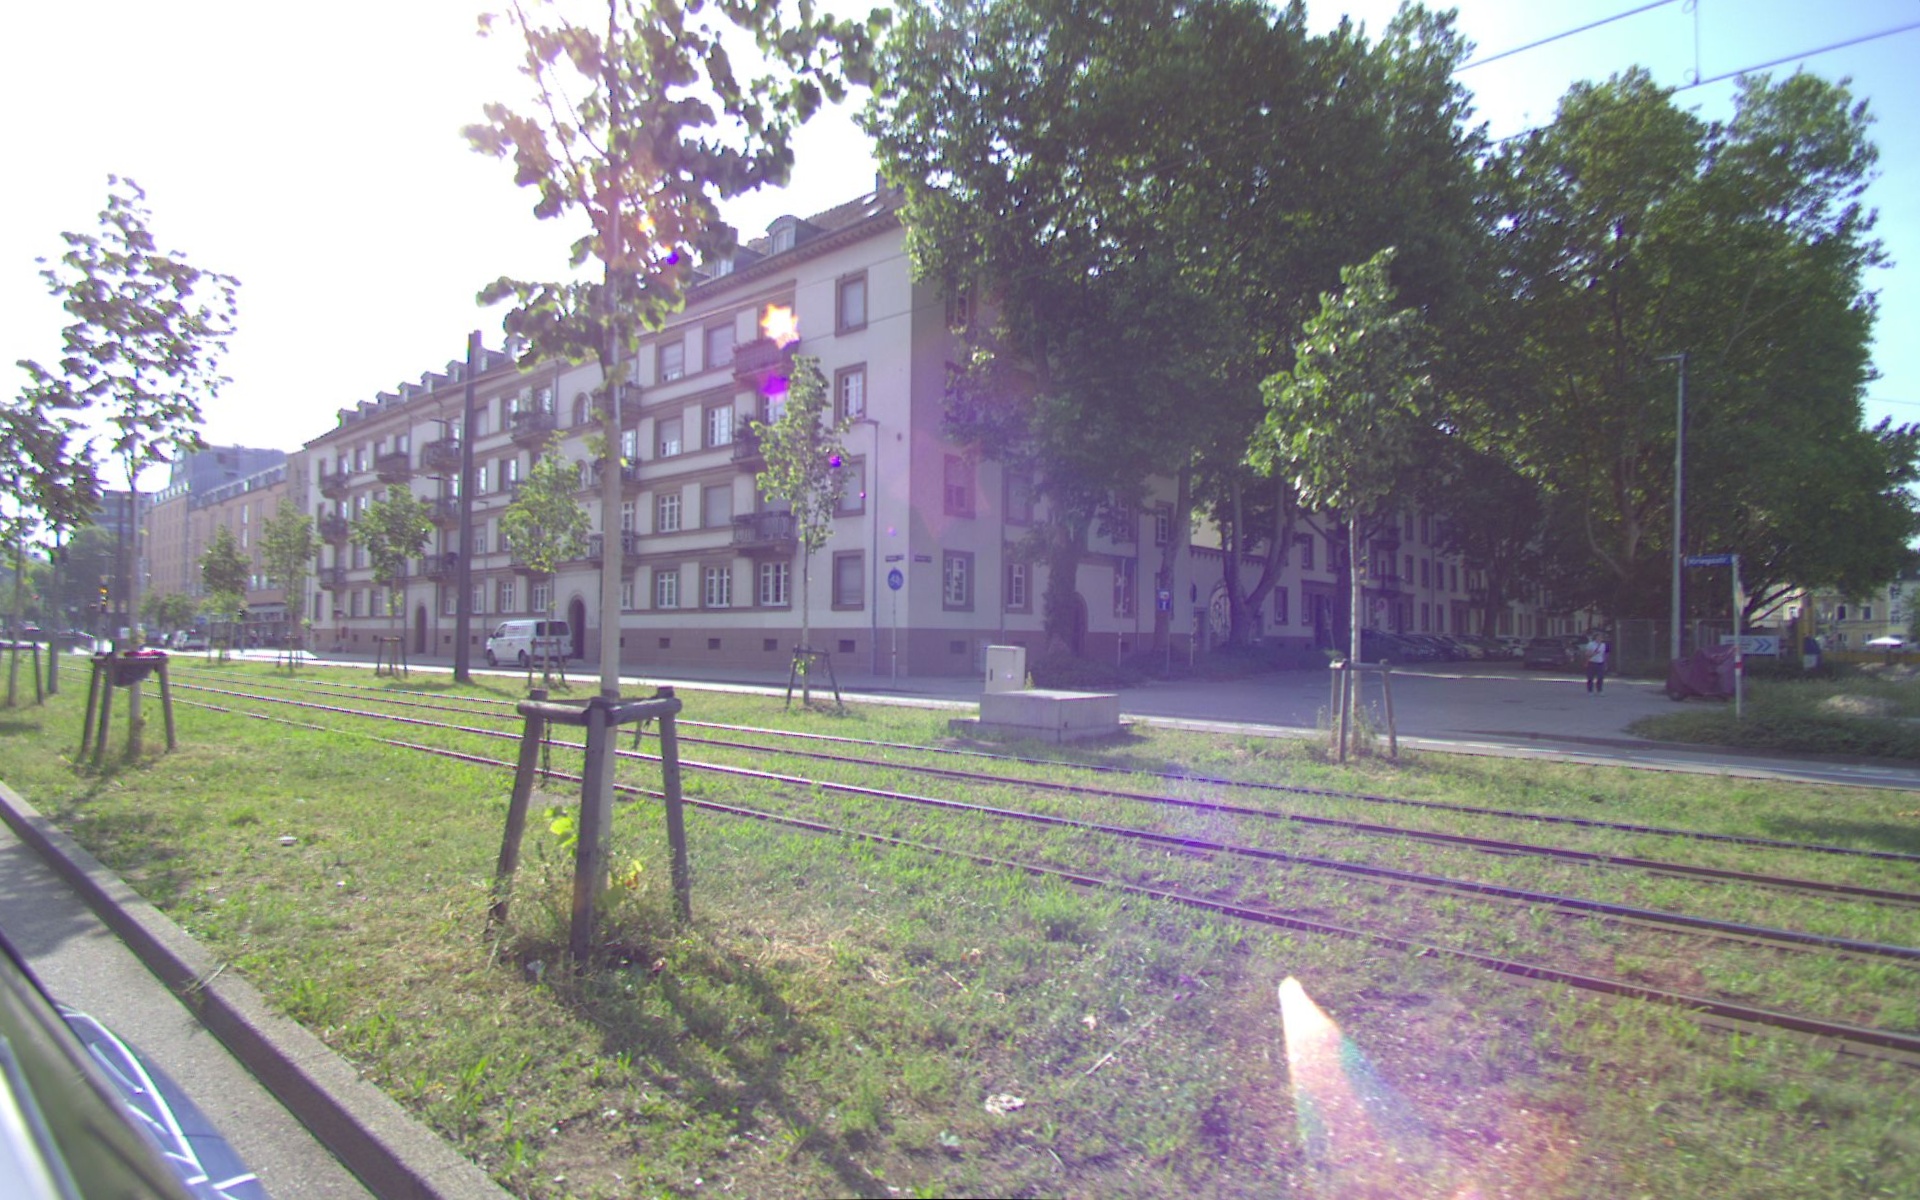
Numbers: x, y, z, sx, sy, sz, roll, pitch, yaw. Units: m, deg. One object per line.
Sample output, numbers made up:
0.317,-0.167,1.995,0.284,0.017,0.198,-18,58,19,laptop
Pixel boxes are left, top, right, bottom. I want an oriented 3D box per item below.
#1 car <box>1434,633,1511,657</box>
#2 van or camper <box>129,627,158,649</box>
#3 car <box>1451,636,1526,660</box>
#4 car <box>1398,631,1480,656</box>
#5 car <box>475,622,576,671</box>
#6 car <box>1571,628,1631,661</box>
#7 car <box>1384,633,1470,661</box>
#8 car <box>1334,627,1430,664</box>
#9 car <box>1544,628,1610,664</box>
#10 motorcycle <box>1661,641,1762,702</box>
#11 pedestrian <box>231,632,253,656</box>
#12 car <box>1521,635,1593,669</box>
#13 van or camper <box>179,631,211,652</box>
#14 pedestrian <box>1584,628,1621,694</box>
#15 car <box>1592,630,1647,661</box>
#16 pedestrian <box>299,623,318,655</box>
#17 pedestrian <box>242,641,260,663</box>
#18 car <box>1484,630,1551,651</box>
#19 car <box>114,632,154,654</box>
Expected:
32.422,2.831,64.123,3.998,1.475,1.973,-2,-3,41,car
-107.334,4.987,132.992,5.351,2.823,1.972,-1,-3,41,van or camper
34.668,3.126,66.403,3.998,1.475,1.973,-2,-3,41,car
27.972,2.535,59.153,3.998,1.386,1.875,-2,-3,41,car
-18.440,1.911,42.848,5.151,1.932,1.972,-2,-1,42,car
32.480,2.243,51.260,1.999,1.619,3.945,-2,-3,41,car
25.806,2.586,56.004,3.998,1.475,1.851,-2,-3,41,car
20.941,2.218,50.323,3.998,1.763,1.973,-2,-3,41,car
28.861,2.141,47.318,1.999,1.619,3.945,-2,-3,41,car
17.880,1.665,24.160,0.808,1.379,2.294,0,-2,4,motorcycle
-56.889,3.505,80.193,0.855,1.882,1.066,0,-2,14,pedestrian
25.686,2.194,43.520,1.999,1.386,3.945,-2,-3,41,car
-73.247,3.933,96.877,1.907,1.983,4.002,3,-3,-44,van or camper
16.641,1.568,26.231,0.673,1.690,0.730,-1,-2,25,pedestrian
35.979,2.451,55.174,1.999,1.619,3.945,-2,-3,41,car
-43.919,2.612,68.212,1.156,2.084,0.833,-2,-2,42,pedestrian
-52.639,3.867,75.160,0.675,1.595,0.803,0,-2,18,pedestrian
40.495,2.938,73.543,3.998,1.475,1.973,-2,-3,41,car
-71.760,3.736,87.912,5.046,1.909,1.972,-2,-3,43,car
